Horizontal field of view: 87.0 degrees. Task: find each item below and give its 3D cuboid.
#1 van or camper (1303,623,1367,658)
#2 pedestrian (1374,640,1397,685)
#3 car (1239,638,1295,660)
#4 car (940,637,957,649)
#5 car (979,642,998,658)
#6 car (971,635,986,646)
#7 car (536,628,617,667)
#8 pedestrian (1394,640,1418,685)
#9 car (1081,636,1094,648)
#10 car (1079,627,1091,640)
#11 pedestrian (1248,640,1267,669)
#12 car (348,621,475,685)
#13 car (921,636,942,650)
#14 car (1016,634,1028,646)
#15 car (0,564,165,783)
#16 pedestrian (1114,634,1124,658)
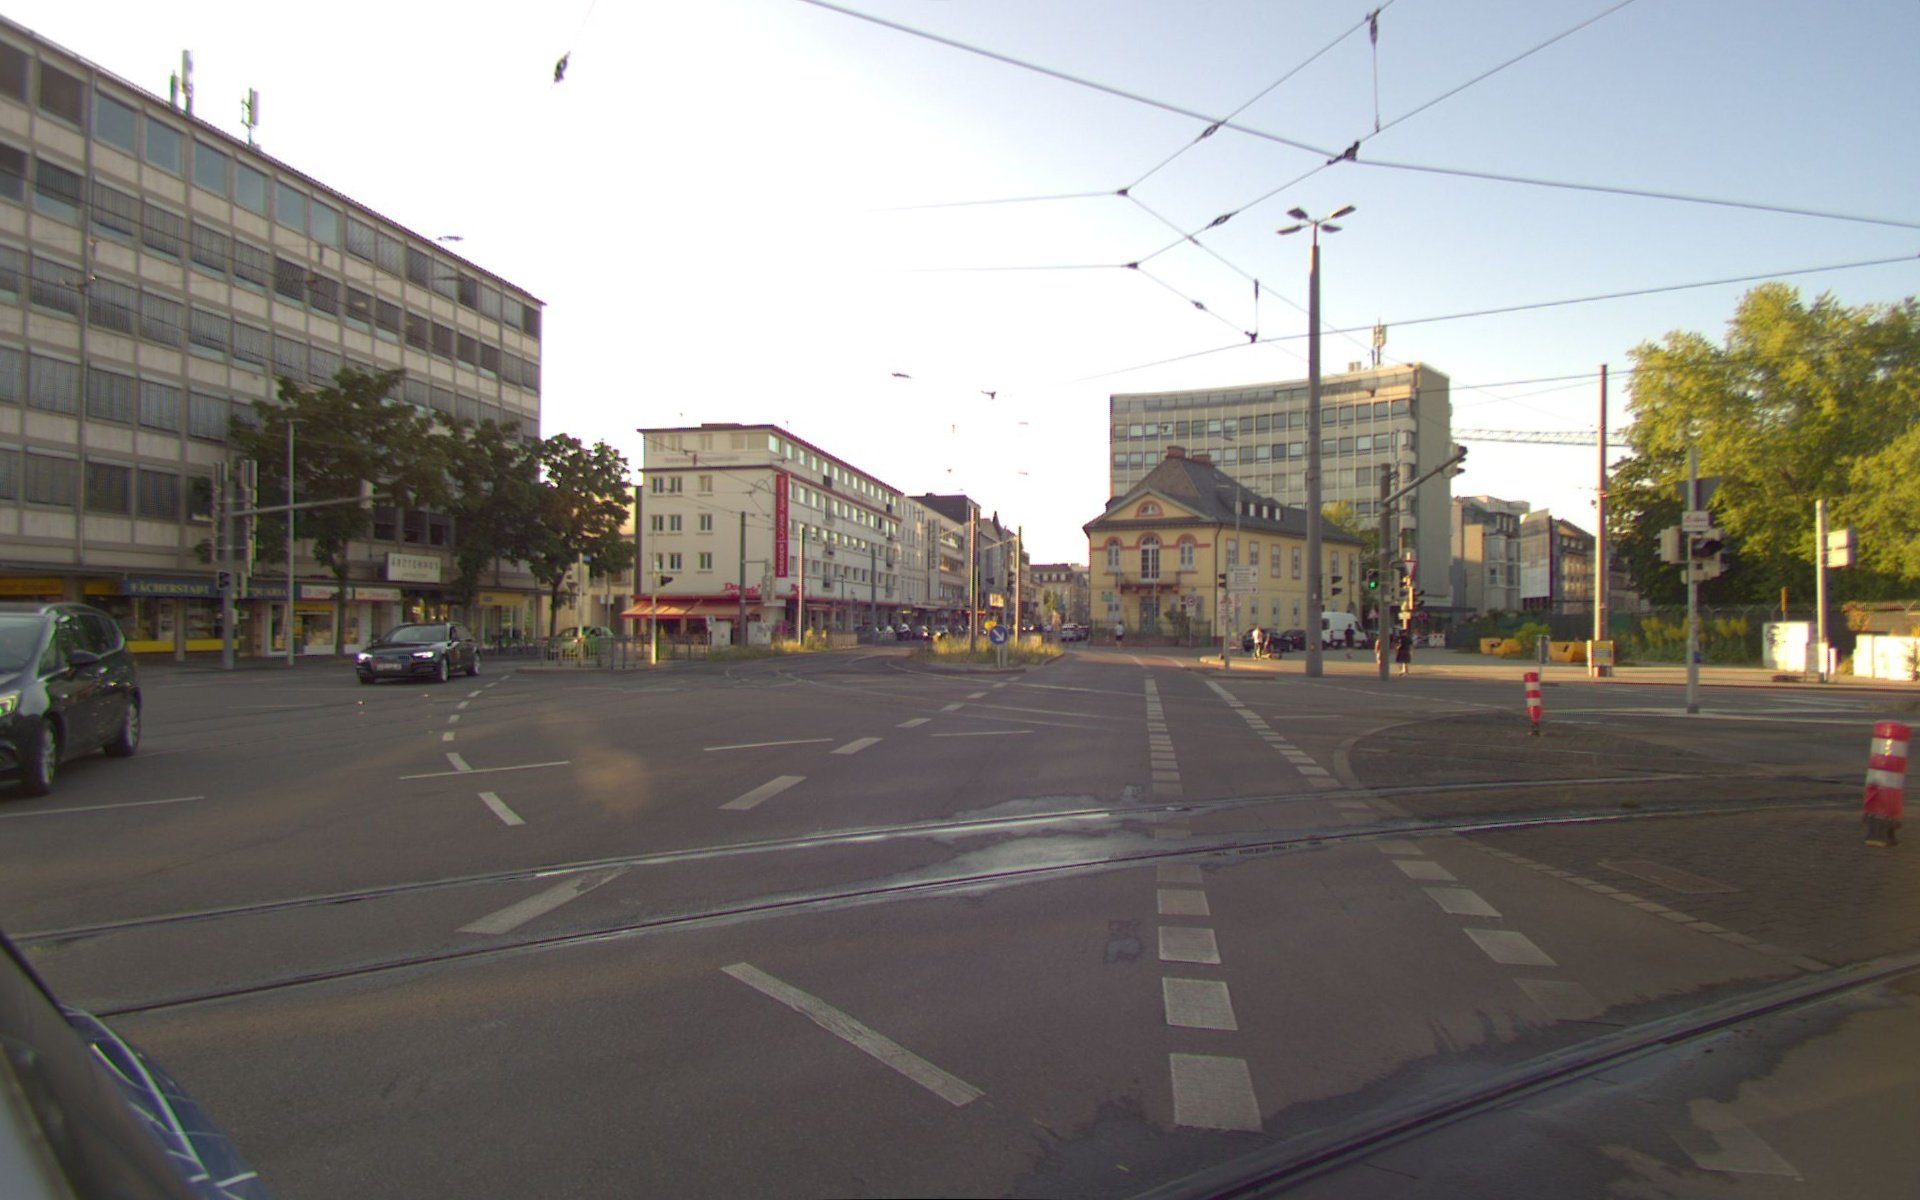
[{"bbox_3d":[25.769,2.751,69.446,5.037,2.319,2.002,2,-2,-42],"label":"van or camper"},{"bbox_3d":[14.686,2.161,34.924,0.584,1.521,0.653,0,-3,11],"label":"pedestrian"},{"bbox_3d":[18.822,3.010,61.993,1.853,1.286,3.536,-2,-3,44],"label":"car"},{"bbox_3d":[-1.306,4.968,117.505,1.548,1.286,3.416,0,-2,7],"label":"car"},{"bbox_3d":[3.562,6.196,125.793,1.975,2.029,3.992,0,-2,6],"label":"car"},{"bbox_3d":[2.275,4.996,126.005,1.548,1.286,3.416,0,-2,7],"label":"car"},{"bbox_3d":[-16.619,2.033,44.084,1.727,1.578,4.018,0,-2,5],"label":"car"},{"bbox_3d":[15.270,2.122,34.667,0.584,1.521,0.653,0,-3,11],"label":"pedestrian"},{"bbox_3d":[15.020,4.965,119.449,1.492,1.286,3.203,0,-2,6],"label":"car"},{"bbox_3d":[16.159,4.347,130.823,1.492,1.591,2.999,1,-1,6],"label":"car"},{"bbox_3d":[14.318,2.601,48.667,0.581,1.351,0.656,1,0,-39],"label":"pedestrian"},{"bbox_3d":[-13.277,1.259,24.760,1.820,1.418,4.237,1,-2,-16],"label":"car"},{"bbox_3d":[-2.767,4.150,98.295,1.548,1.286,3.416,0,-2,7],"label":"car"},{"bbox_3d":[10.774,7.030,176.831,1.973,2.029,3.997,0,-2,2],"label":"car"},{"bbox_3d":[-8.857,0.586,9.080,1.770,1.631,4.401,1,-2,-26],"label":"car"},{"bbox_3d":[10.010,2.911,63.760,0.584,1.521,0.652,0,-3,13],"label":"pedestrian"}]
